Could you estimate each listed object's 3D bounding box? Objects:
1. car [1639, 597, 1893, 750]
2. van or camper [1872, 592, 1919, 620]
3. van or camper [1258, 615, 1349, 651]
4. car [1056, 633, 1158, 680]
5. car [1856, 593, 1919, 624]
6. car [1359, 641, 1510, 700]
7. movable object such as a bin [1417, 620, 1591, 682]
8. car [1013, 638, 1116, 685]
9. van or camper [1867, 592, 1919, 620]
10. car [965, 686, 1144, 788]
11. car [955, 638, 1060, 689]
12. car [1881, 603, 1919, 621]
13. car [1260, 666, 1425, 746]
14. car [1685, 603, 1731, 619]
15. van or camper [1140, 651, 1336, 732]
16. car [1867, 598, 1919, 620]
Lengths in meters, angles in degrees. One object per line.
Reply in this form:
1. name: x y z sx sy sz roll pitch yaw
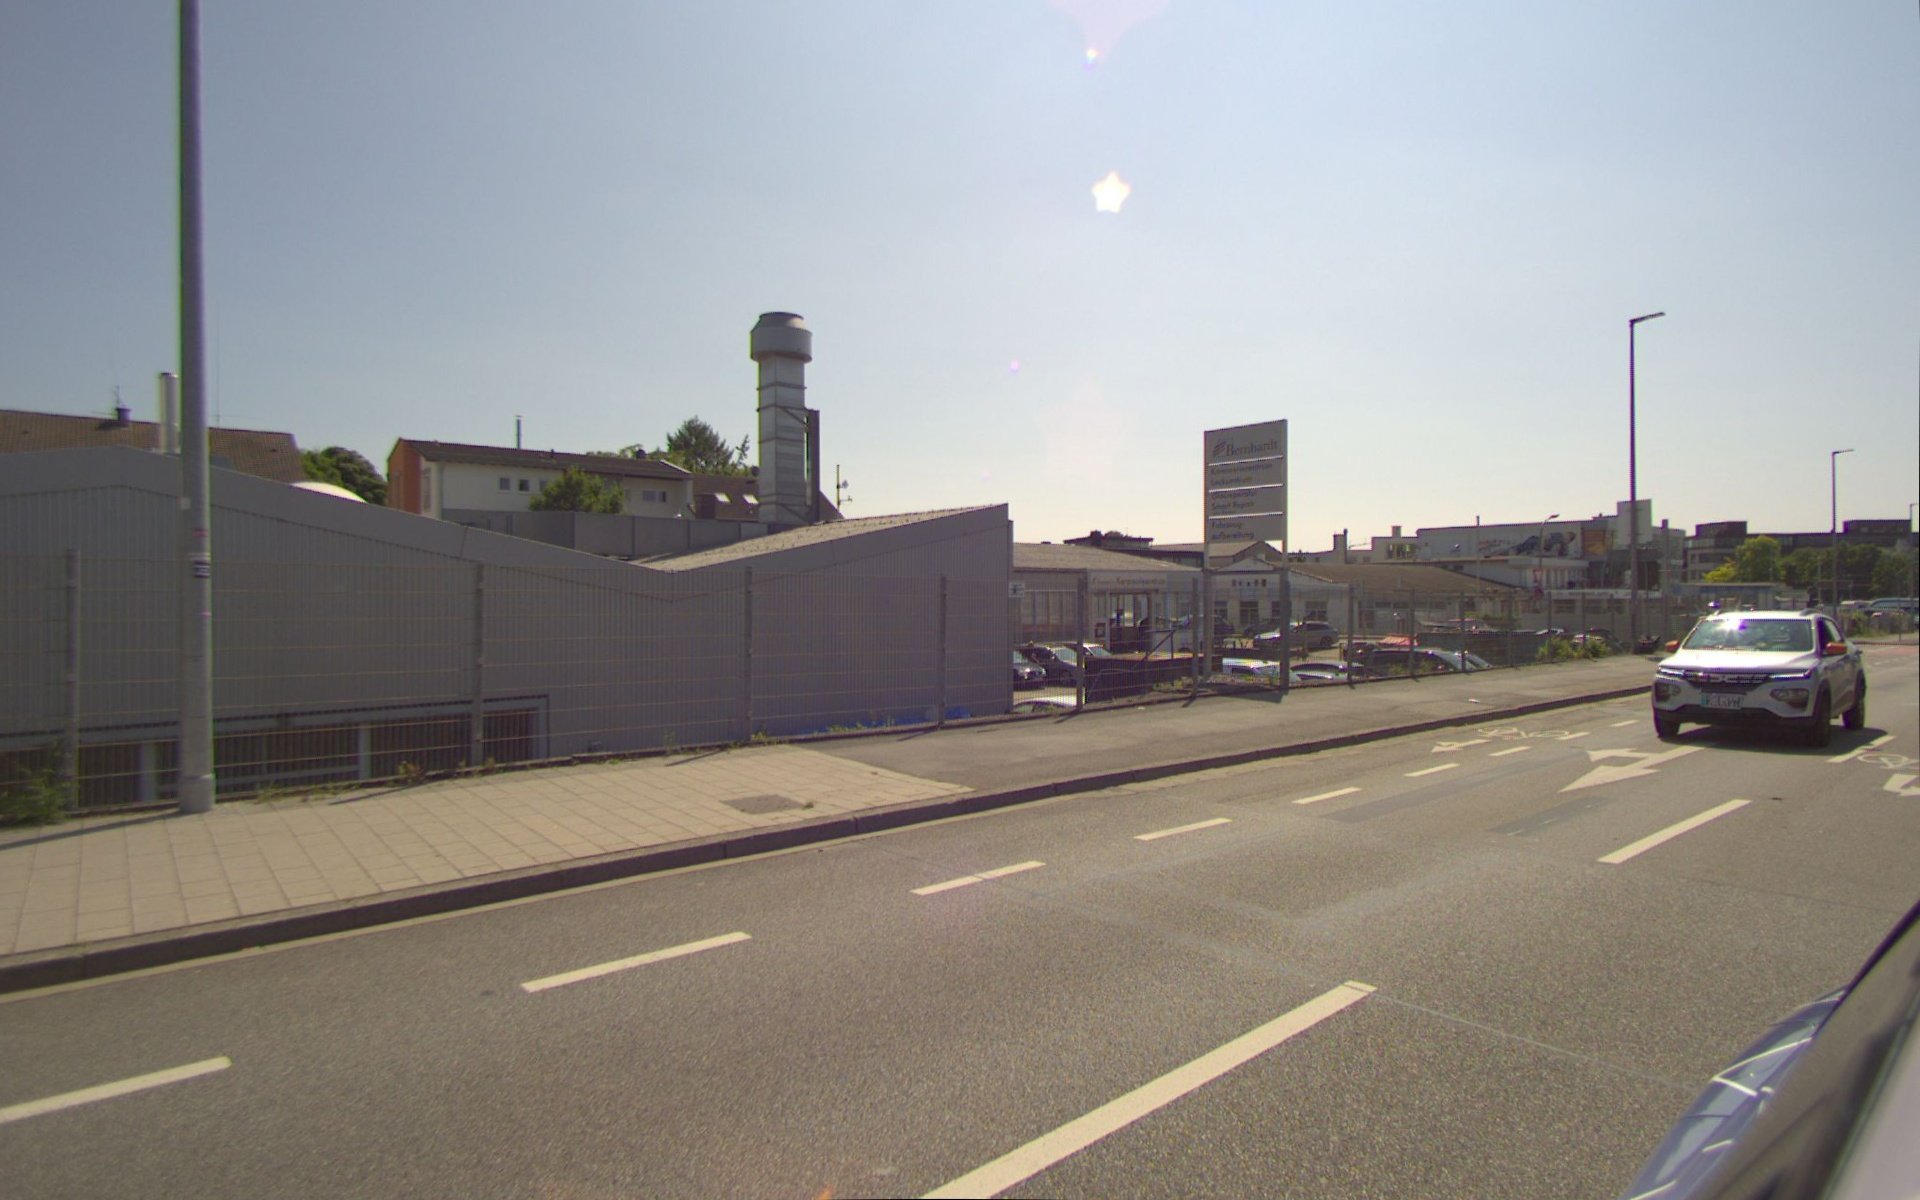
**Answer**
1. car: 9.811 0.777 12.237 3.613 1.503 1.724 -2 -1 -41
2. van or camper: 94.784 0.585 100.255 2.665 2.751 6.360 1 0 -40
3. van or camper: 18.307 1.726 53.968 4.140 1.561 2.006 -1 4 -14
4. car: 6.255 2.371 43.308 1.967 1.682 3.991 -3 2 -43
5. car: 90.102 0.788 96.872 2.279 2.906 6.240 1 0 -40
6. car: 15.391 2.240 32.945 1.966 1.672 3.991 0 -1 -42
7. movable object such as a bin: 19.596 1.859 36.688 1.965 2.040 5.122 0 -3 -41
8. car: 4.247 2.474 41.487 1.817 1.534 3.991 -3 2 -43
9. van or camper: 92.637 0.561 98.424 2.665 2.734 6.360 1 0 -40
10. car: 2.031 2.983 22.852 1.961 1.854 4.001 0 -3 -32
11. car: 1.864 2.476 40.500 1.967 1.682 3.991 -3 2 -43
12. car: 86.784 1.131 92.352 1.767 1.613 3.928 1 0 -41
13. car: 11.085 3.008 29.528 1.965 2.040 3.991 0 -3 -42
14. car: 86.198 1.237 116.643 1.967 1.755 4.108 1 0 -44
15. van or camper: 6.886 2.198 25.367 1.988 1.672 4.314 0 -1 -45
16. car: 88.490 0.826 94.686 1.965 1.976 5.243 1 0 -41
